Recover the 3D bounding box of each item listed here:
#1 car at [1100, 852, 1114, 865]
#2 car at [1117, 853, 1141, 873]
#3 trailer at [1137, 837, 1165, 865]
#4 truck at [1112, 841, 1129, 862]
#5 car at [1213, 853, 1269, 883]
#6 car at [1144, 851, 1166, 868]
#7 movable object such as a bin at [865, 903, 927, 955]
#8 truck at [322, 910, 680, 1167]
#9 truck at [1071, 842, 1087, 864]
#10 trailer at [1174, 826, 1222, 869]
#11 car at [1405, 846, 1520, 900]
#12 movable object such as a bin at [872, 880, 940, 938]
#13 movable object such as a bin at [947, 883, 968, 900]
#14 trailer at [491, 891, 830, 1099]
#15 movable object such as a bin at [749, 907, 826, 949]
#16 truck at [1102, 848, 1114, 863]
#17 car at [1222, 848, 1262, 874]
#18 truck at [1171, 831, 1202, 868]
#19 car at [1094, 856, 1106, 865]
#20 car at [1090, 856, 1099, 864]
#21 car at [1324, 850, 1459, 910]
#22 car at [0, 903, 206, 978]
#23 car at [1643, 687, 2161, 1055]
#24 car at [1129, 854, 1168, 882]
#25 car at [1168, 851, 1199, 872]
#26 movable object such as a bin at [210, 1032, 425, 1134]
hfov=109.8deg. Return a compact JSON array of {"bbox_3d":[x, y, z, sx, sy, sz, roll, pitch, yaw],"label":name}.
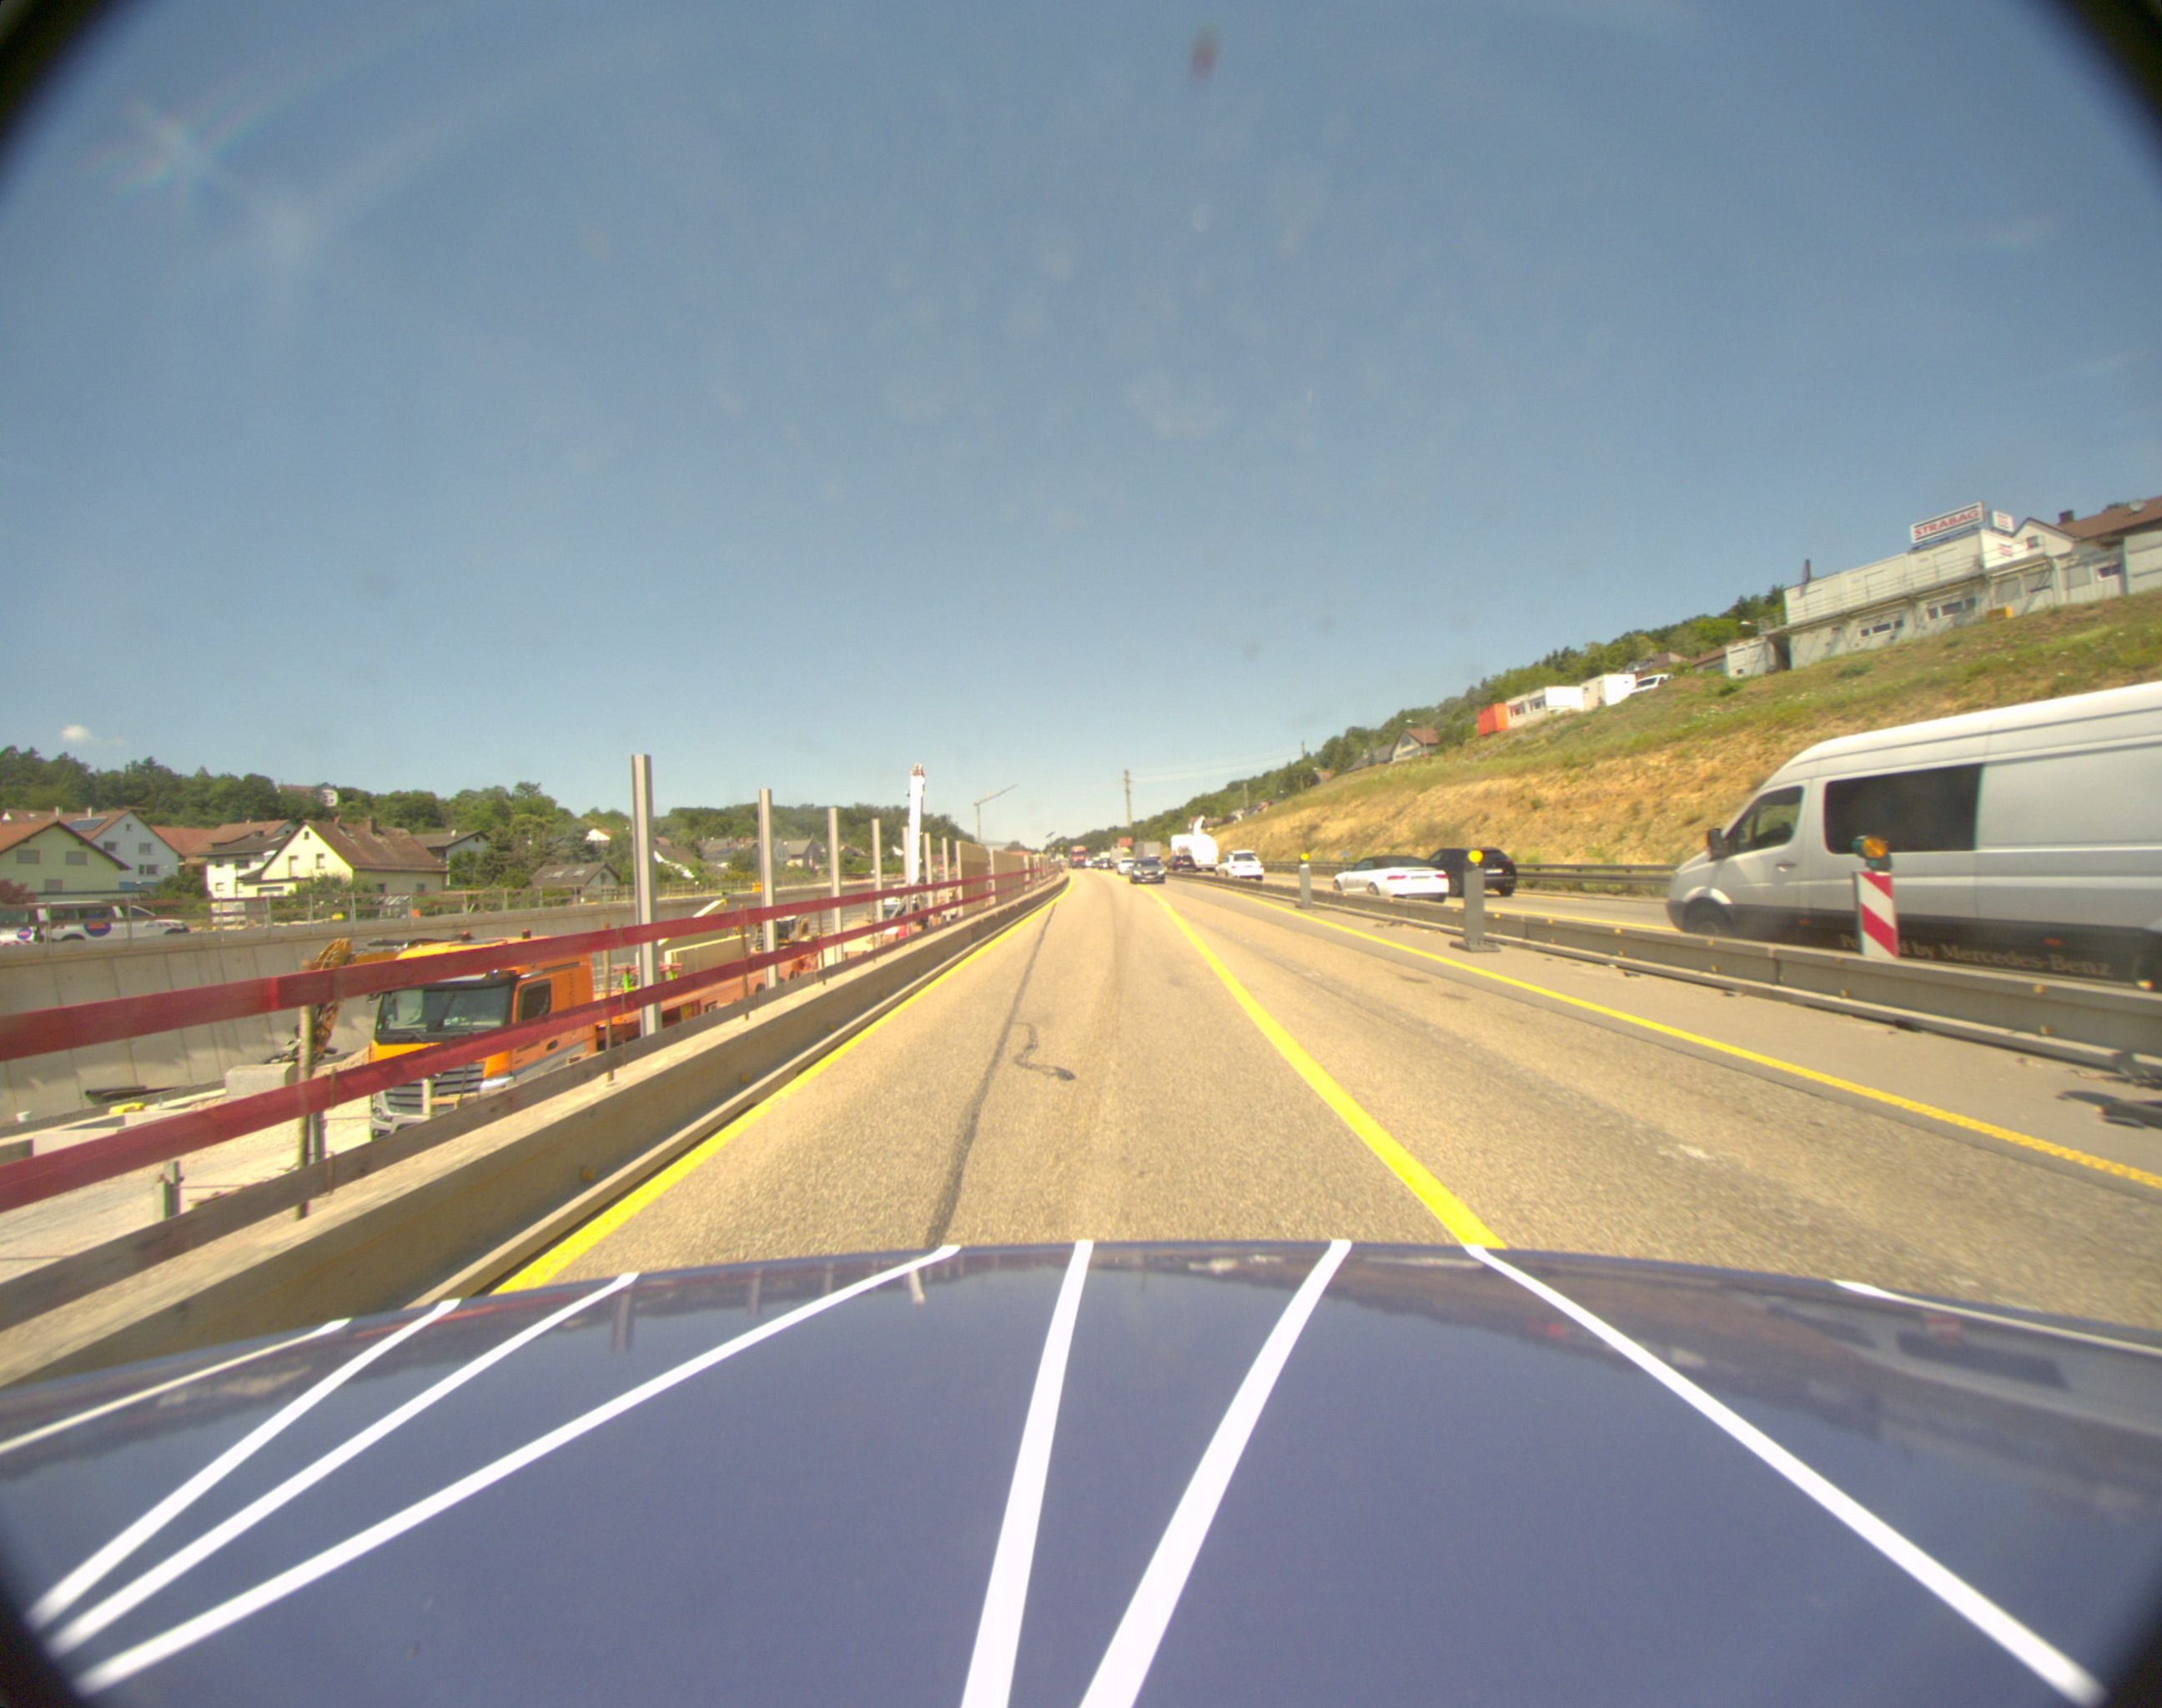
[{"bbox_3d":[3.634,0.678,106.002,1.780,1.727,4.336,-2,-1,0],"label":"car"},{"bbox_3d":[4.347,0.824,69.534,1.780,1.682,4.336,-2,-1,0],"label":"car"},{"bbox_3d":[10.879,-0.371,119.114,2.705,4.001,13.701,-2,0,-1],"label":"trailer"},{"bbox_3d":[7.305,-0.464,141.423,2.596,3.736,7.358,-2,0,-1],"label":"truck"},{"bbox_3d":[8.639,0.730,41.421,1.966,1.455,4.940,-2,0,0],"label":"car"},{"bbox_3d":[7.902,0.617,81.365,1.884,1.734,4.482,-1,0,0],"label":"car"},{"bbox_3d":[-10.685,4.277,44.226,2.174,2.417,4.821,-4,0,1],"label":"movable object such as a bin"},{"bbox_3d":[-11.404,3.357,15.853,2.765,3.863,5.882,-2,0,1],"label":"truck"},{"bbox_3d":[-0.349,-0.092,140.277,2.606,3.703,10.537,-2,-1,0],"label":"truck"},{"bbox_3d":[11.307,-0.552,74.687,2.597,3.779,11.916,-2,0,-1],"label":"trailer"},{"bbox_3d":[12.087,0.562,24.380,1.698,1.522,4.000,-2,0,1],"label":"car"},{"bbox_3d":[-12.669,3.875,55.910,2.974,3.467,9.150,-4,0,-2],"label":"movable object such as a bin"},{"bbox_3d":[-20.141,6.039,123.913,2.615,2.475,4.454,-3,0,-1],"label":"movable object such as a bin"},{"bbox_3d":[-11.313,3.393,23.069,2.765,3.863,13.049,-2,0,1],"label":"trailer"},{"bbox_3d":[-24.117,6.025,62.881,3.171,2.431,7.894,-4,0,0],"label":"movable object such as a bin"},{"bbox_3d":[6.445,0.435,183.762,2.544,3.354,7.037,-2,0,0],"label":"truck"},{"bbox_3d":[11.584,0.484,55.021,1.795,1.752,4.537,-2,0,-2],"label":"car"},{"bbox_3d":[11.183,-0.492,81.120,2.597,3.779,3.766,-2,0,-1],"label":"truck"},{"bbox_3d":[3.144,1.109,126.729,1.780,1.485,4.336,-2,-1,0],"label":"car"},{"bbox_3d":[2.786,1.227,157.048,1.780,1.486,4.336,-2,-1,0],"label":"car"},{"bbox_3d":[8.625,0.669,21.614,1.805,1.438,4.636,-2,0,-1],"label":"car"},{"bbox_3d":[-33.688,2.862,26.050,1.810,2.002,4.825,-2,0,-1],"label":"car"},{"bbox_3d":[8.626,0.097,6.824,1.998,2.591,7.011,-2,0,1],"label":"car"},{"bbox_3d":[3.781,0.824,43.300,1.780,1.447,4.336,-2,-1,0],"label":"car"},{"bbox_3d":[8.360,0.609,62.386,1.795,1.602,4.733,-2,0,0],"label":"car"},{"bbox_3d":[-20.605,6.139,20.727,2.382,1.479,3.211,-10,-1,1],"label":"movable object such as a bin"}]
